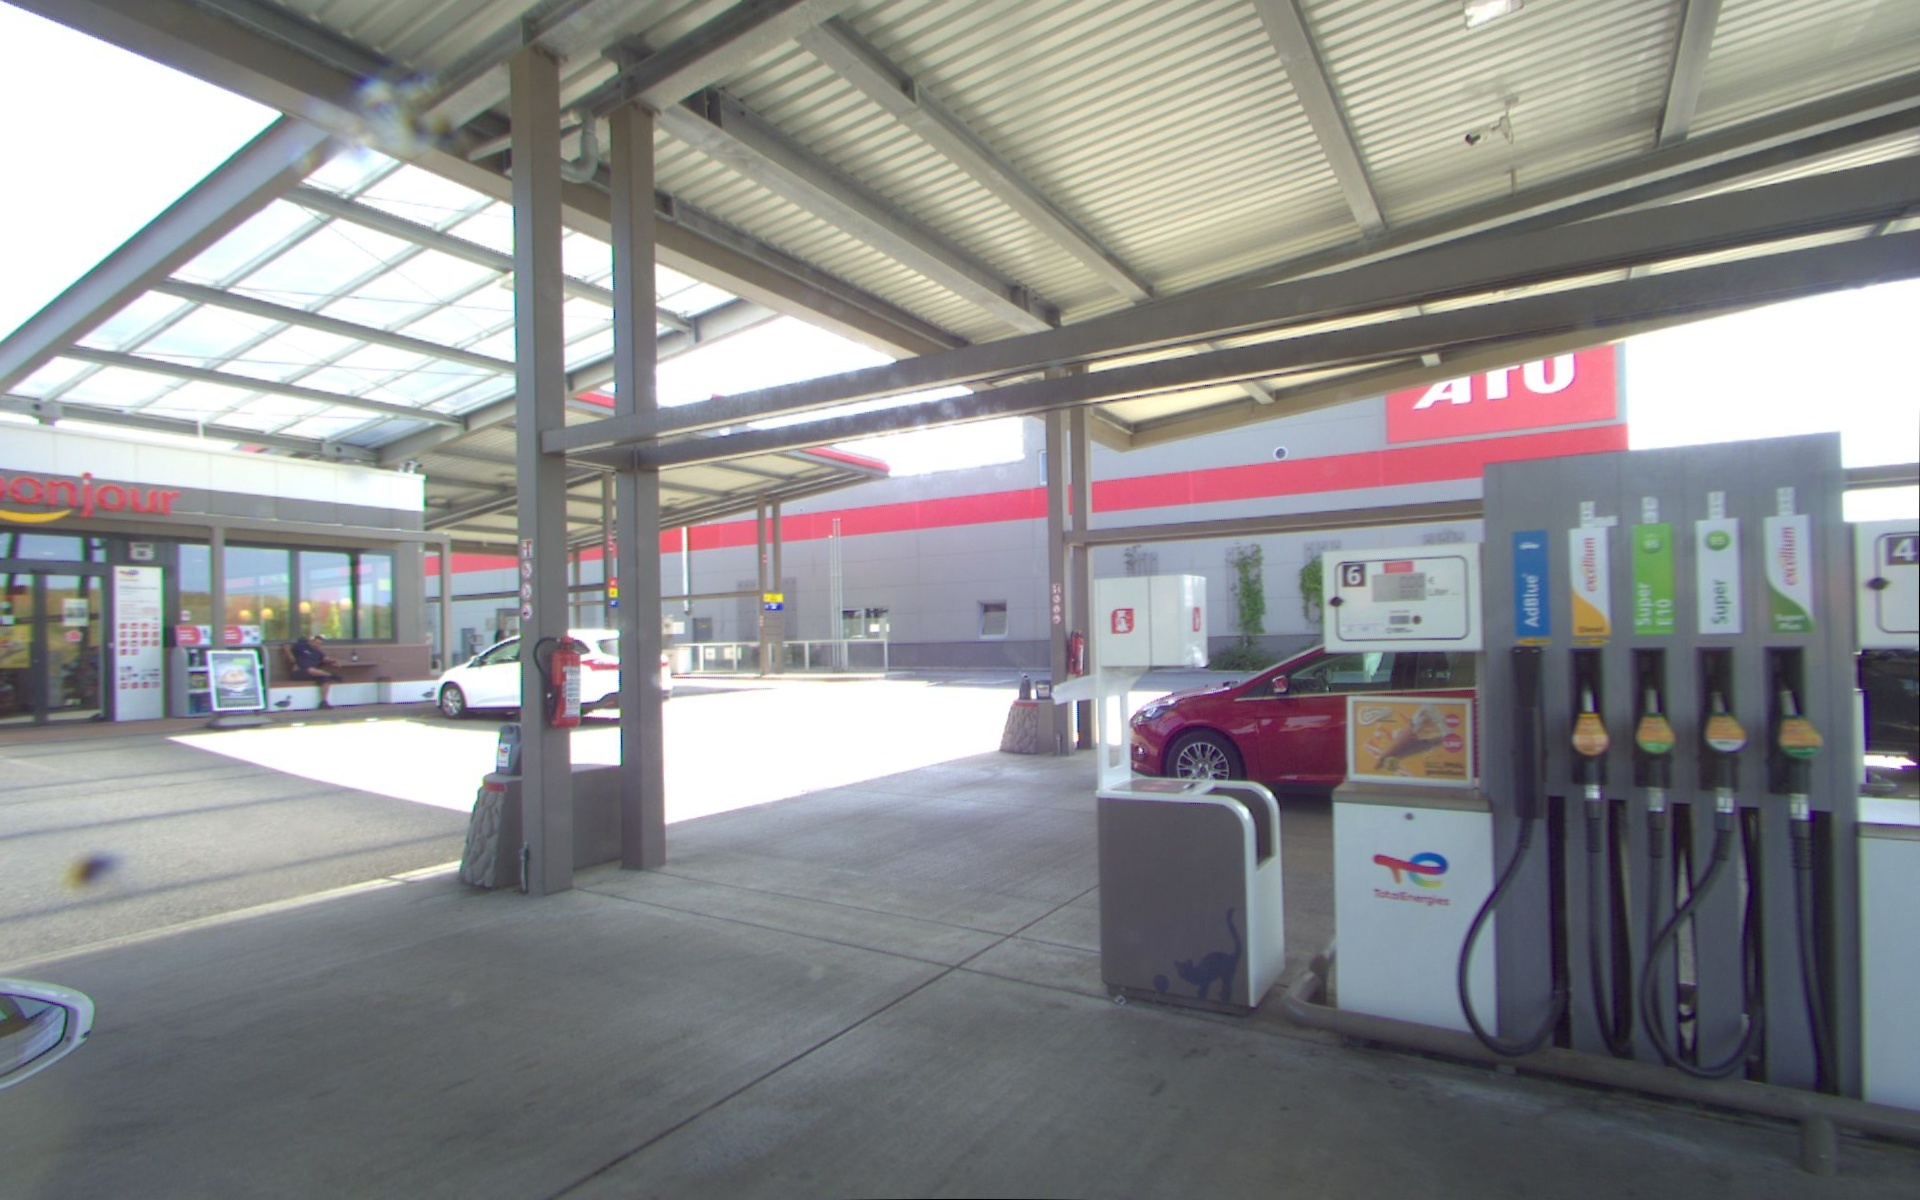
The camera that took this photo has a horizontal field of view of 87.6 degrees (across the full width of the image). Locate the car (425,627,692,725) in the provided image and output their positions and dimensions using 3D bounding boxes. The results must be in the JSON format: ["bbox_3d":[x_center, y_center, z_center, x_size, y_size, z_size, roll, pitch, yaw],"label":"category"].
[{"bbox_3d":[-6.825,1.224,16.993,4.251,1.475,1.830,-1,-1,25],"label":"car"}]

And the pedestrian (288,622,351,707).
[{"bbox_3d":[-11.234,1.118,17.573,0.663,1.450,0.700,-1,-1,30],"label":"pedestrian"}]

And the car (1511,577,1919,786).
[{"bbox_3d":[8.383,0.748,10.272,4.728,1.875,2.024,0,-1,32],"label":"car"}]

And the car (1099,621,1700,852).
[{"bbox_3d":[3.420,0.943,8.288,4.171,1.488,1.696,-1,-1,31],"label":"car"}]

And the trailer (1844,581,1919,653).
[{"bbox_3d":[34.302,0.585,35.555,3.922,2.458,2.000,-1,-1,4],"label":"trailer"}]
